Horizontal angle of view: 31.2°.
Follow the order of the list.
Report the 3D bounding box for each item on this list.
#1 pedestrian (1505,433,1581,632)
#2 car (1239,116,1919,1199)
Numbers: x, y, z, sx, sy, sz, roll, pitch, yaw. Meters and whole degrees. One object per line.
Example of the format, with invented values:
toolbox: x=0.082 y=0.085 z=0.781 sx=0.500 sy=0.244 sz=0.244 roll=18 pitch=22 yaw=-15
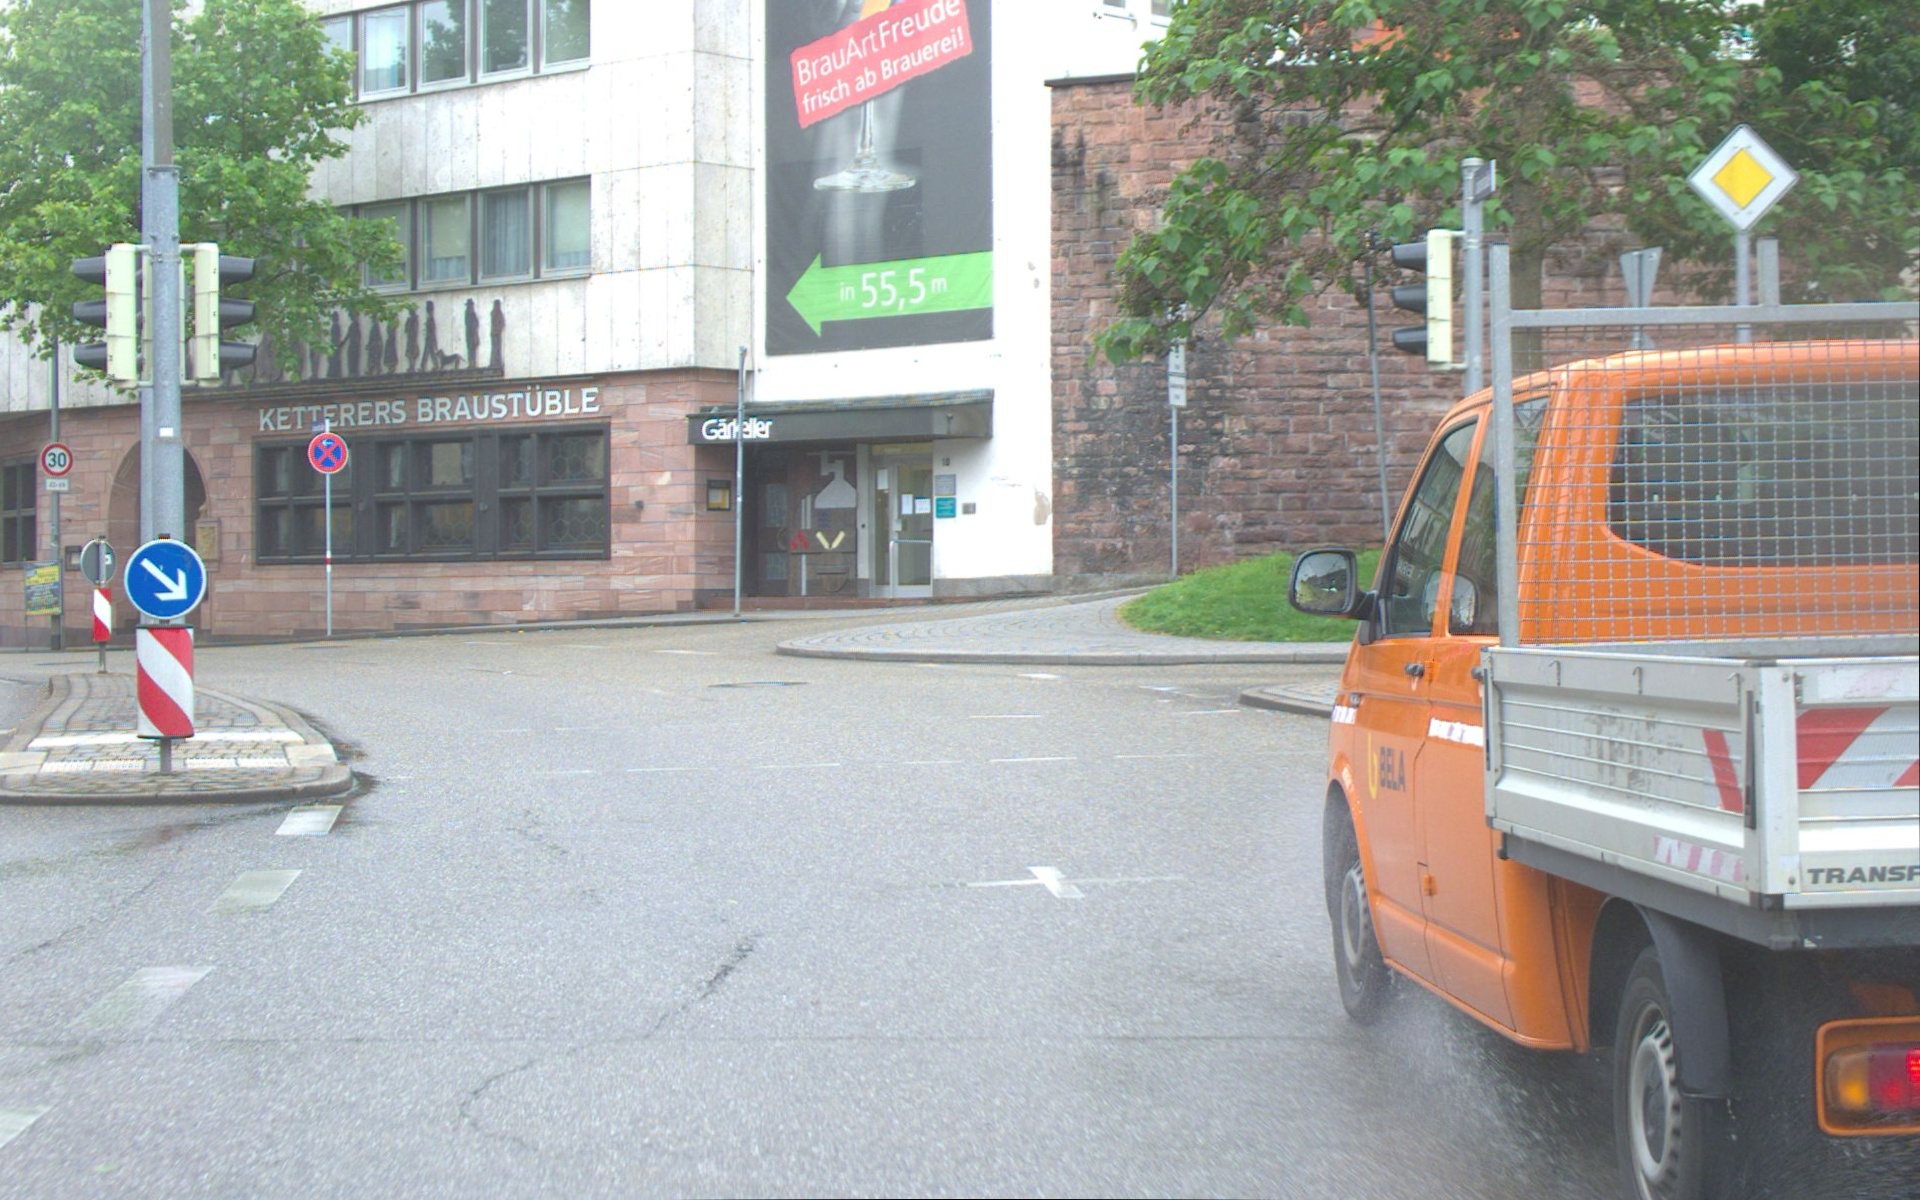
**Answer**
pedestrian: x=5.296 y=-0.605 z=31.196 sx=0.597 sy=1.775 sz=0.656 roll=2 pitch=-1 yaw=12
car: x=2.112 y=0.286 z=8.313 sx=2.101 sy=2.082 sz=5.542 roll=1 pitch=0 yaw=-3
